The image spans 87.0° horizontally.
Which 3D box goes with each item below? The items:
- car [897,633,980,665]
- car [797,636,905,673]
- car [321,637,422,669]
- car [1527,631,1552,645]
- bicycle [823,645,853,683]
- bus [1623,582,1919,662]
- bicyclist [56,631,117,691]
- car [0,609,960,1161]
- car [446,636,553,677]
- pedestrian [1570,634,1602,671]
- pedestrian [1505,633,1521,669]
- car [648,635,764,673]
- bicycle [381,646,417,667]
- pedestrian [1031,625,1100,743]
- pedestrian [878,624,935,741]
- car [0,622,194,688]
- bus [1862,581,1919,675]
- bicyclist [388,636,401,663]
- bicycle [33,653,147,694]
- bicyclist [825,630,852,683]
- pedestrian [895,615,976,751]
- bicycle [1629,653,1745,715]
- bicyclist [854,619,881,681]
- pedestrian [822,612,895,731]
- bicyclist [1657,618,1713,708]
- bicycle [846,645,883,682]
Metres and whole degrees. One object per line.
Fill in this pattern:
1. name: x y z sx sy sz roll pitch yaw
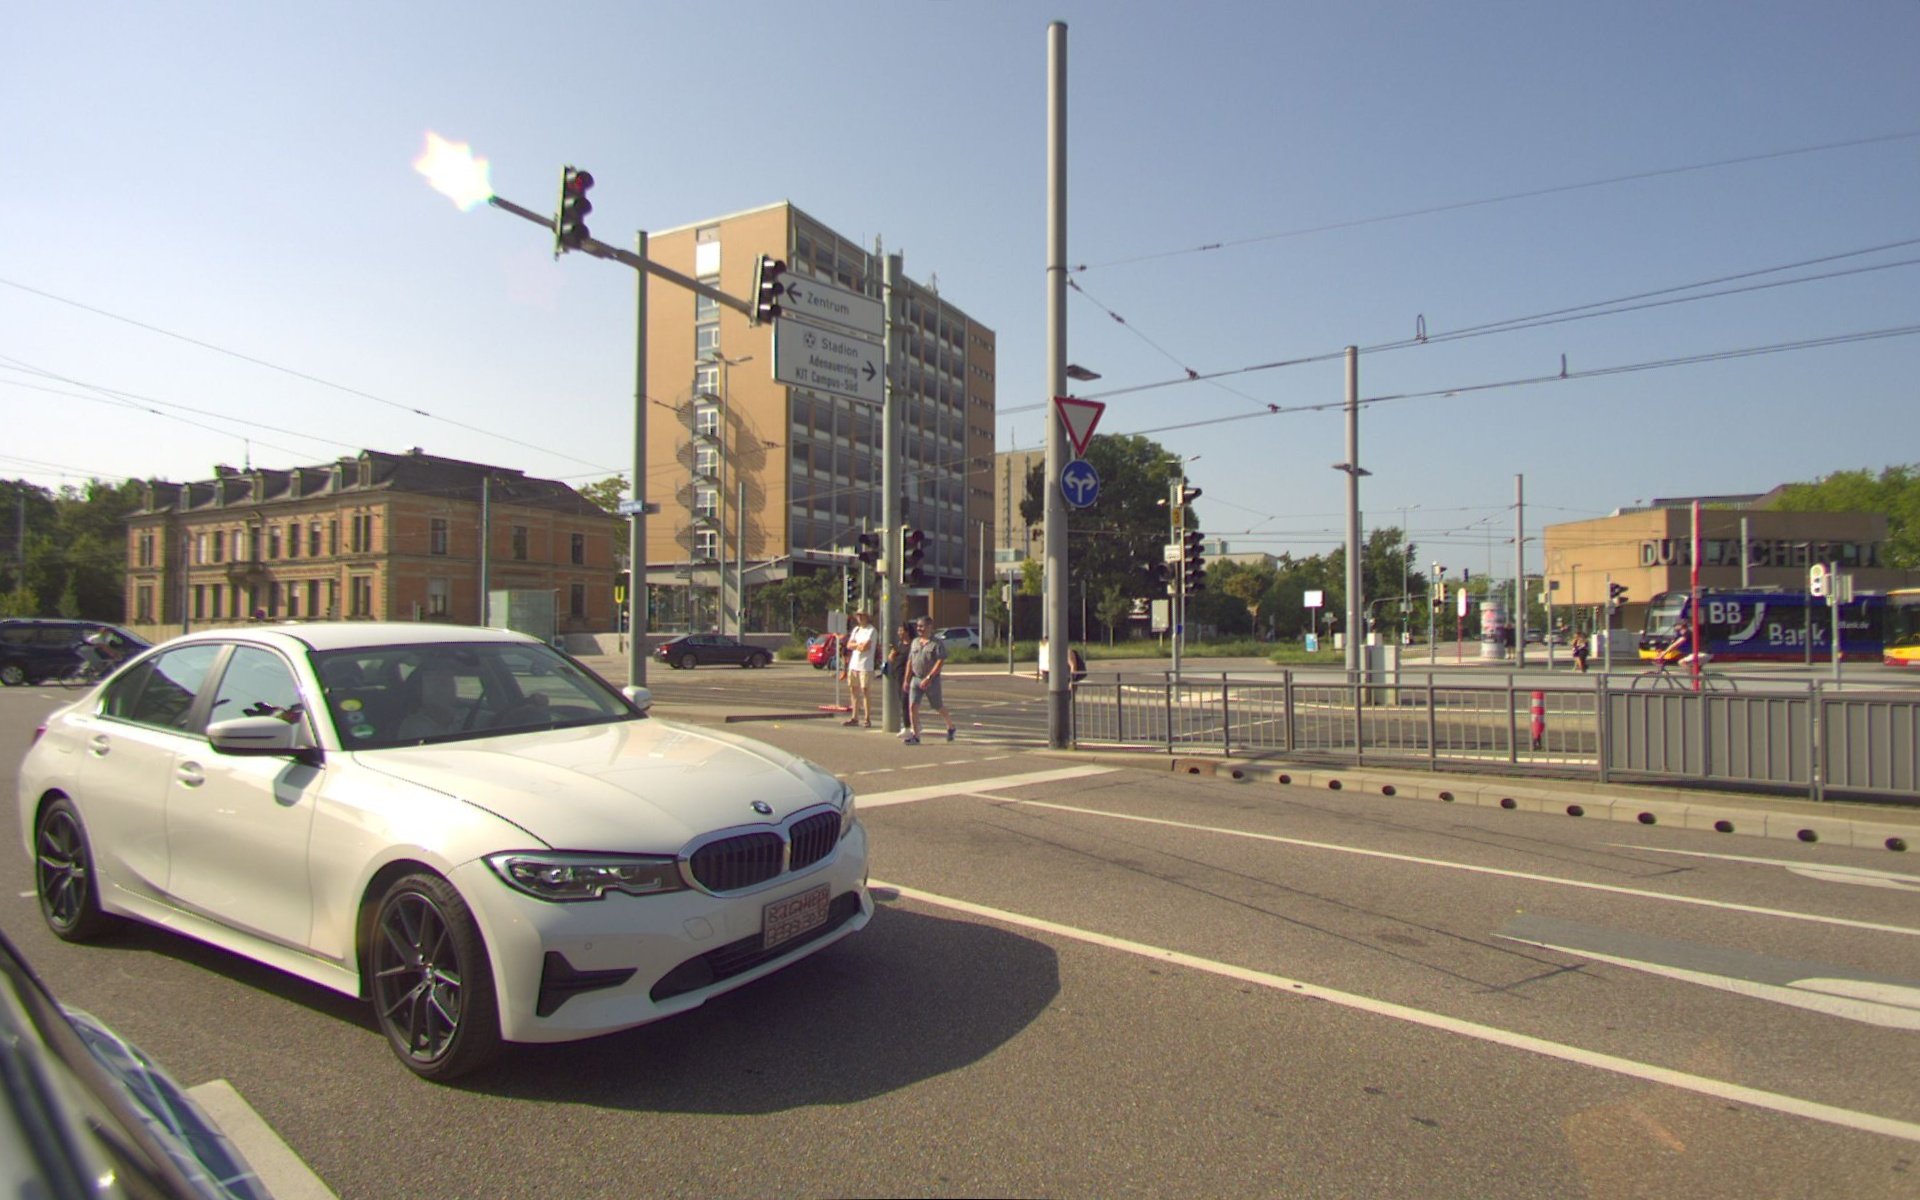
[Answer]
1. car: -1.171 2.712 56.222 4.217 1.720 1.957 1 -5 -33
2. car: -4.392 2.187 40.932 3.932 1.426 1.808 1 -3 -31
3. car: -28.914 2.589 49.833 4.251 1.477 1.679 1 -5 -30
4. car: 63.643 4.174 111.090 3.471 1.462 1.495 2 -3 -44
5. bicycle: -3.886 2.027 32.209 0.306 1.174 1.503 1 -3 -34
6. bus: 37.667 1.021 46.211 13.111 3.445 3.229 0 -2 -5
7. bicyclist: -22.620 1.557 26.237 0.955 1.486 1.091 1 -1 -29
8. car: -2.513 0.809 4.625 4.753 1.438 1.797 -1 -1 29
9. car: -17.023 2.059 37.422 3.495 1.446 1.809 1 -3 -26
10. pedestrian: 21.787 1.821 35.236 0.549 1.302 0.769 0 -2 -6
11. pedestrian: 27.643 2.536 50.580 0.551 1.782 0.403 0 -2 -3
12. car: -10.354 2.183 41.347 4.276 1.463 1.808 1 -3 -30
13. bicycle: -31.757 3.182 57.322 1.742 1.203 0.402 1 -2 -16
14. pedestrian: 1.450 1.137 13.869 0.548 1.560 0.799 -2 -5 42
15. pedestrian: -0.757 1.161 14.360 0.467 1.610 0.626 -2 -5 39
16. car: -25.543 1.586 29.605 4.690 1.842 1.809 1 -3 -26
17. bus: 39.106 0.990 35.470 13.107 3.203 3.230 0 -2 -7
18. bicyclist: -32.041 2.813 57.347 0.539 1.491 0.398 0 -2 -16
19. bicycle: -22.590 1.903 26.330 2.160 0.997 0.531 1 -2 -29
20. bicyclist: -3.863 1.785 32.136 0.503 1.643 0.809 1 -3 -35
21. pedestrian: -0.312 1.072 13.248 0.651 1.706 0.805 -2 -5 41
22. bicycle: 13.811 1.581 19.260 1.745 1.118 0.397 -2 -3 40
23. bicyclist: -3.022 1.637 33.041 0.571 1.989 0.809 1 -3 -35
24. pedestrian: -1.594 1.123 15.950 0.822 1.802 0.730 5 -5 -42
25. bicyclist: 13.809 1.183 19.275 0.790 1.669 0.581 -2 -3 41
26. bicycle: -3.164 2.069 33.304 0.371 1.174 1.864 1 -3 -34
